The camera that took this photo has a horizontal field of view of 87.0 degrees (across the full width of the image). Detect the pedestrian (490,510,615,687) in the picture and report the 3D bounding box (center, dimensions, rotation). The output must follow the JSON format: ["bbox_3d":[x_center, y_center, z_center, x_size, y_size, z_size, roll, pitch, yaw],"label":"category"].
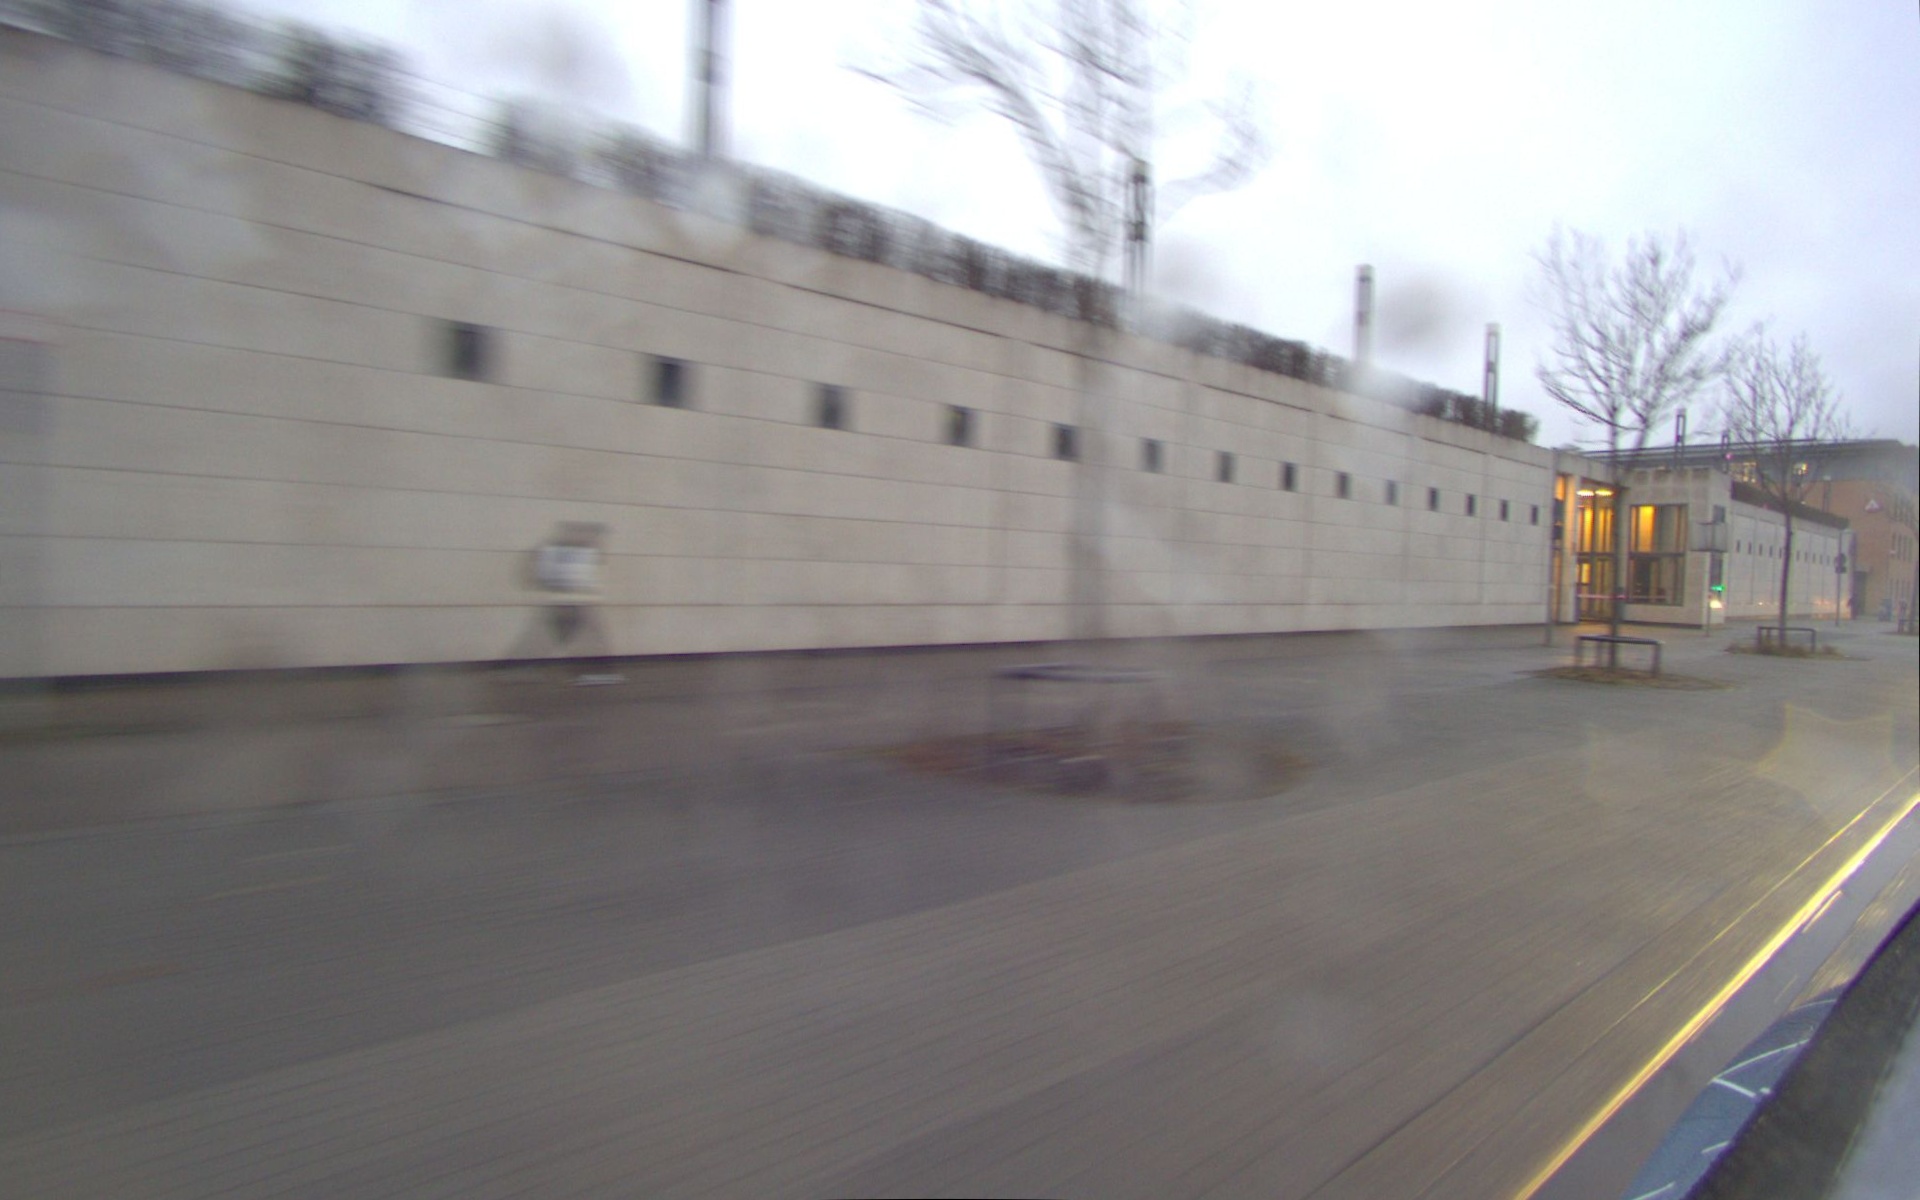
[{"bbox_3d":[-4.084,-0.043,10.159,0.667,1.675,0.979,3,3,44],"label":"pedestrian"}]

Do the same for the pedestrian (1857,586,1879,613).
[{"bbox_3d":[56.980,-0.051,63.502,0.868,1.650,0.814,0,4,-41],"label":"pedestrian"}]
